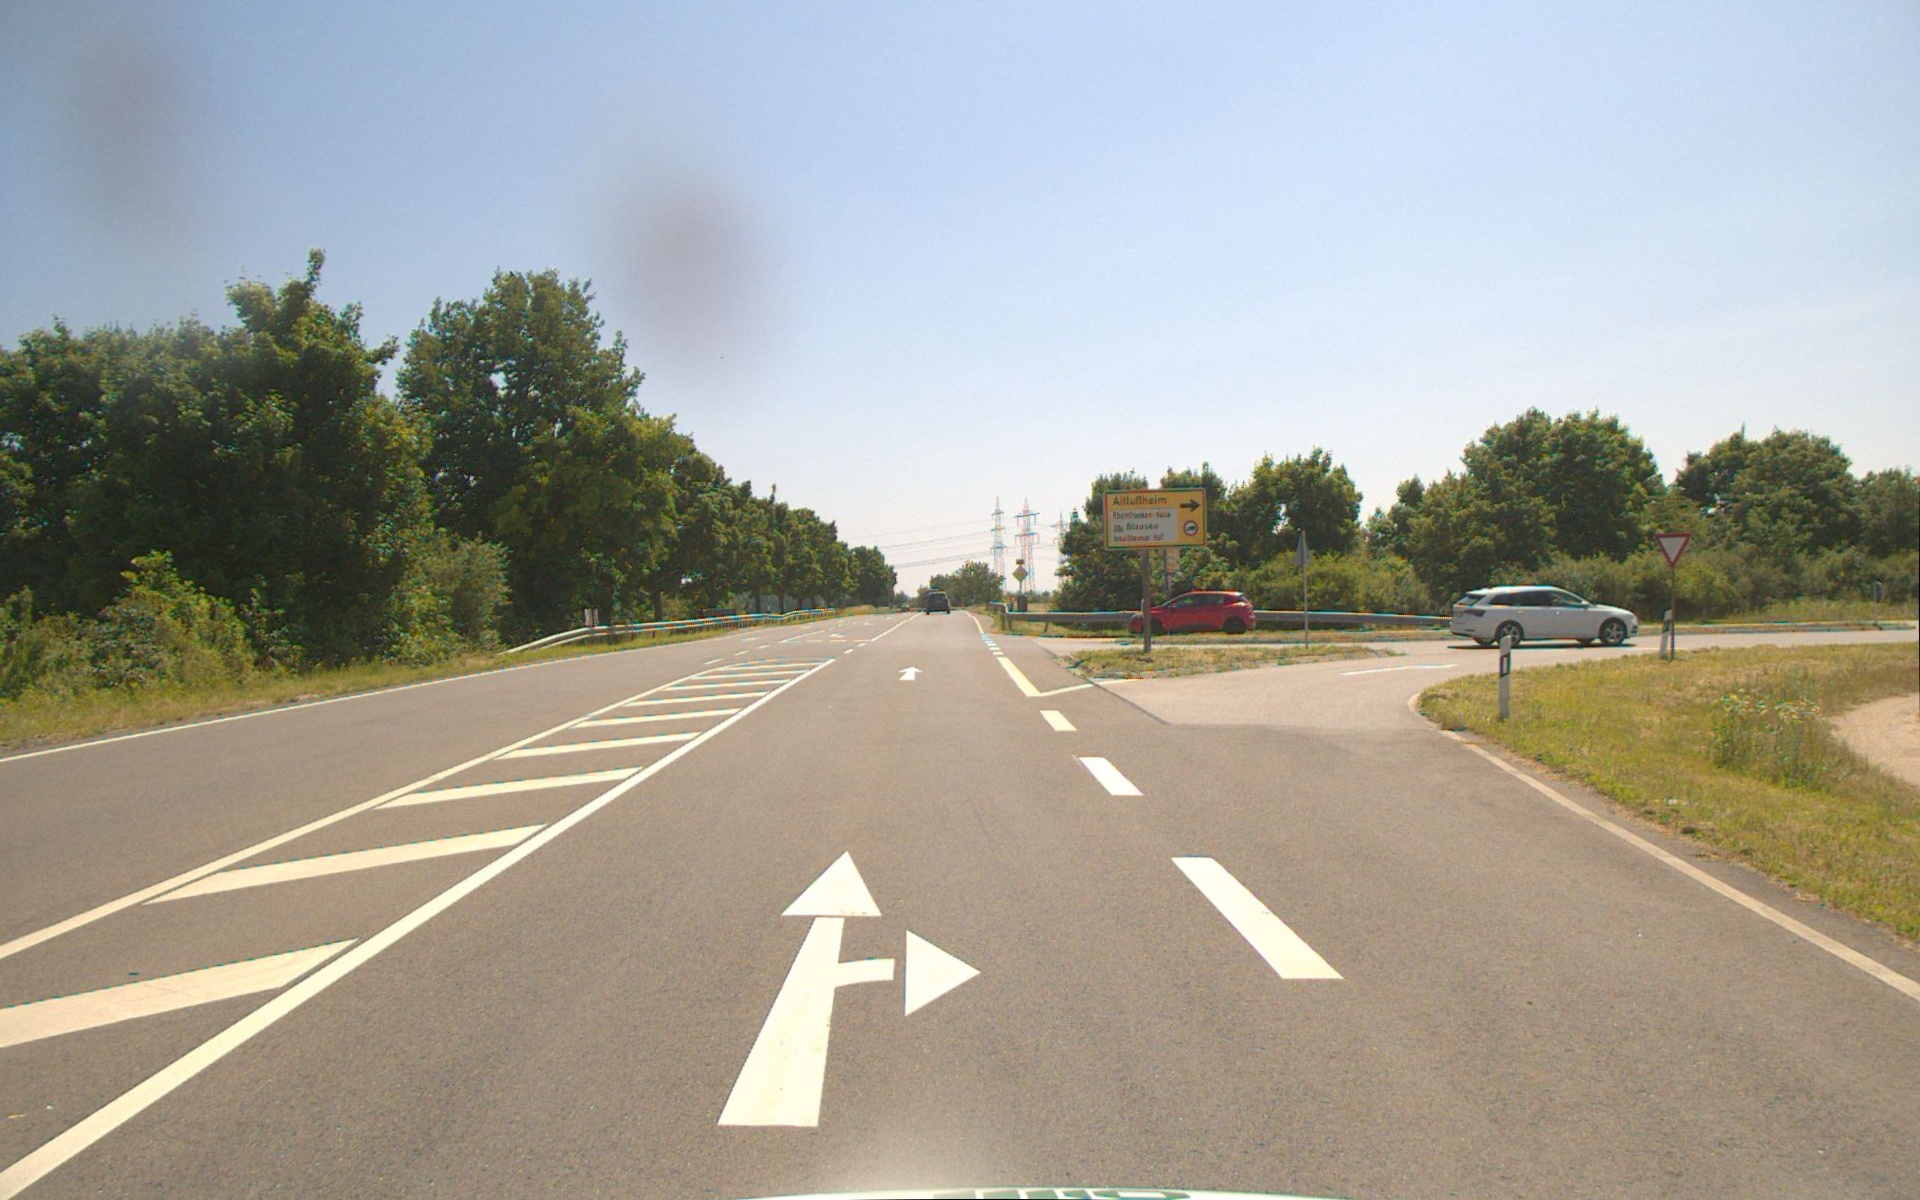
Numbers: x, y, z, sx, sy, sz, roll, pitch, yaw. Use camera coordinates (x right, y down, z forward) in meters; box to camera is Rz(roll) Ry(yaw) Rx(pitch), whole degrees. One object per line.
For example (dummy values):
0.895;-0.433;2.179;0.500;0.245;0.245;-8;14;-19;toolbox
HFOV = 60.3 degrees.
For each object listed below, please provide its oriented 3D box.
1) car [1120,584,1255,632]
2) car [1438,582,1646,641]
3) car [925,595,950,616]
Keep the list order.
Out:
7.210;0.264;52.333;4.064;1.443;1.781;-1;-1;13;car
14.609;0.292;41.692;4.605;1.443;1.841;0;0;-2;car
-1.763;0.427;127.851;1.847;1.544;4.038;0;0;-2;car
